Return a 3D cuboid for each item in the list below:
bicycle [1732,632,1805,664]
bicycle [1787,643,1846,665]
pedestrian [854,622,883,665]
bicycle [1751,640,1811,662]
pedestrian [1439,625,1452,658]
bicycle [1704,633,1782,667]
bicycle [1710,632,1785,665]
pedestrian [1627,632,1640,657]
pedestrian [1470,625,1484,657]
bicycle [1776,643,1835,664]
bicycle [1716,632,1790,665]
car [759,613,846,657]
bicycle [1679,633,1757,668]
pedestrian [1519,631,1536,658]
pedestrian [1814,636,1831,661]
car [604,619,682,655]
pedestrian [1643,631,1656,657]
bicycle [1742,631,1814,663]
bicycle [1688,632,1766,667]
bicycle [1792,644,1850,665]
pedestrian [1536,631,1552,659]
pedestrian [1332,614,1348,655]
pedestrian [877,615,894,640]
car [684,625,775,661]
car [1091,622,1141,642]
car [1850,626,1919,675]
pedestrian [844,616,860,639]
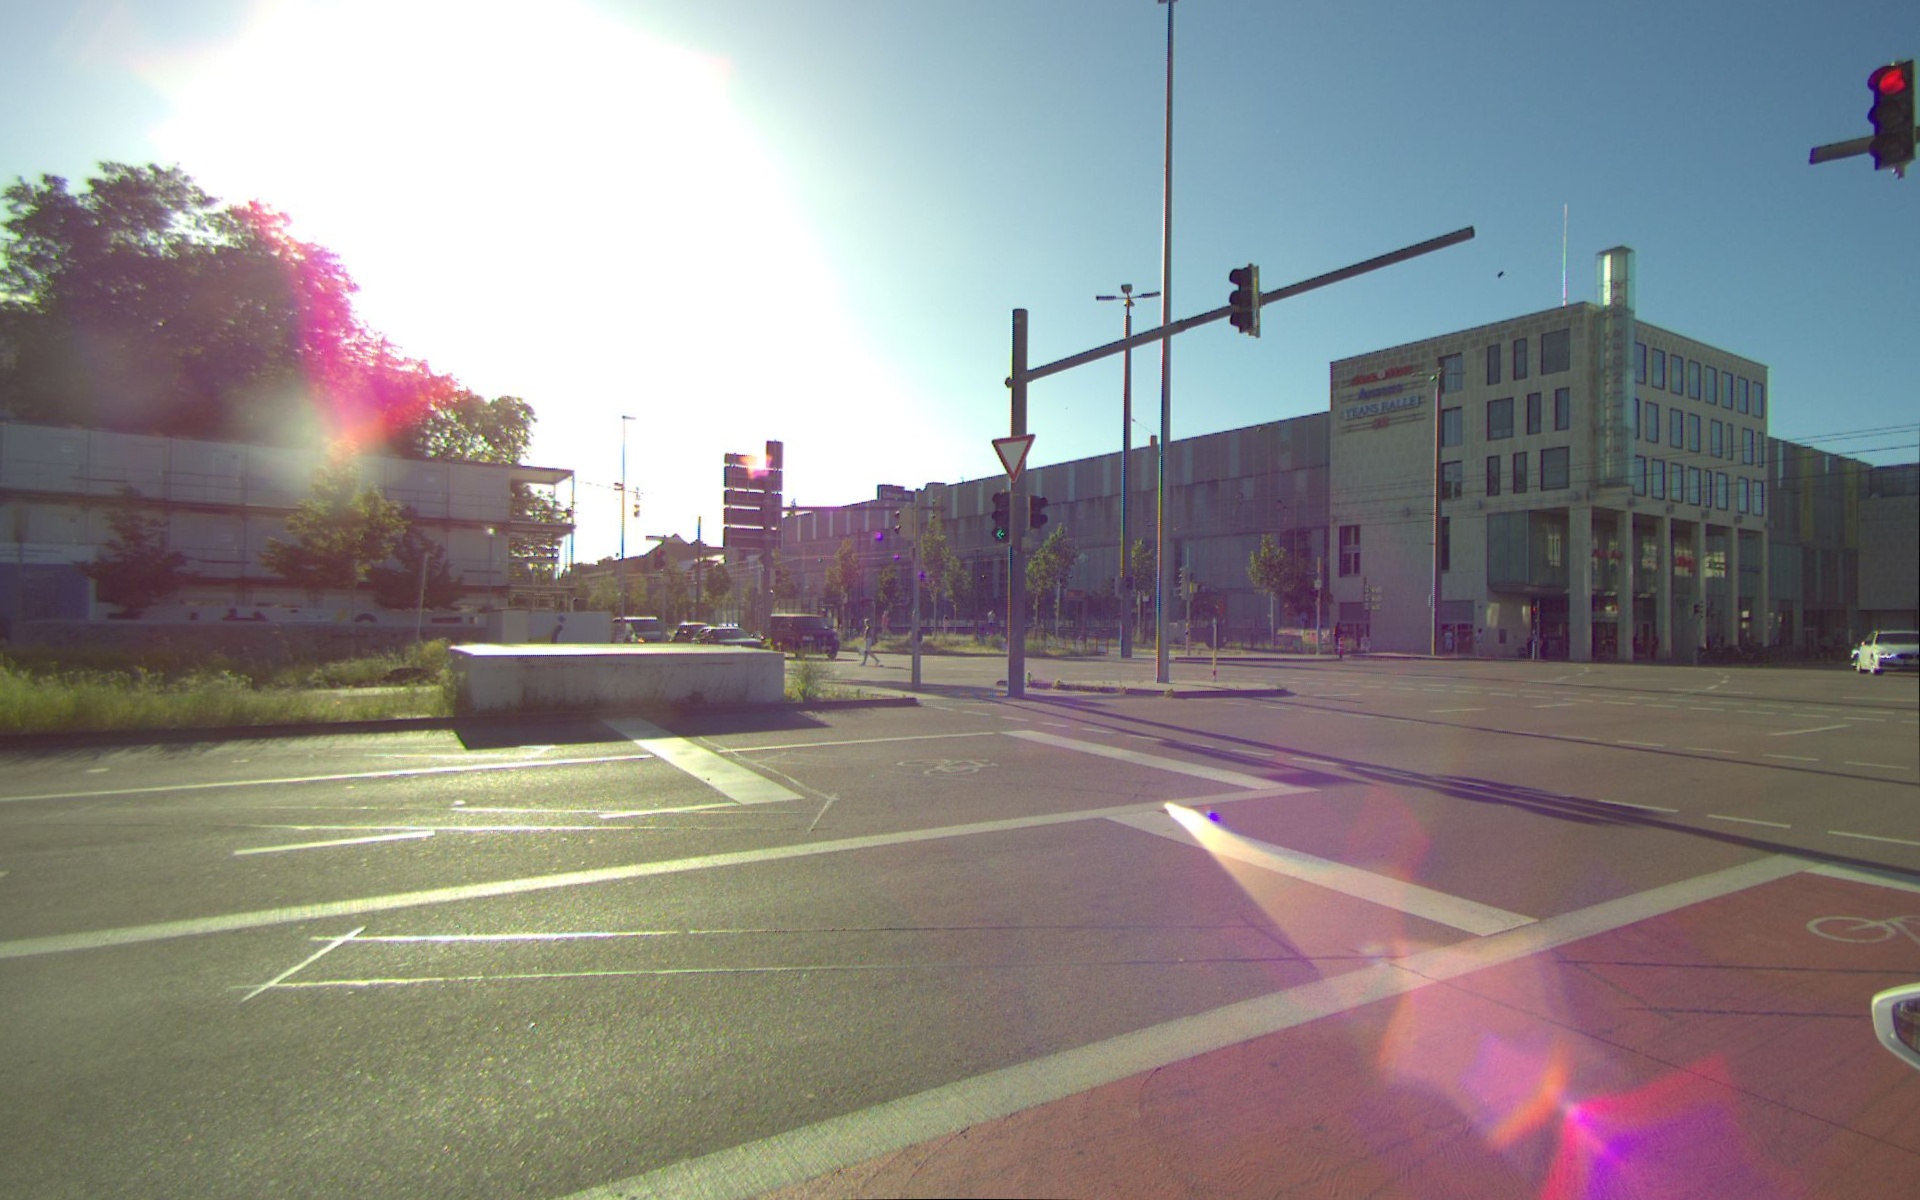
[{"bbox_3d":[52.860,3.131,65.719,0.893,2.040,3.598,1,-2,-34],"label":"bicycle"},{"bbox_3d":[60.331,3.784,70.812,0.893,1.419,3.032,1,-2,-34],"label":"bicycle"},{"bbox_3d":[-3.299,1.554,36.165,0.796,1.522,0.716,1,-1,-40],"label":"pedestrian"},{"bbox_3d":[55.087,3.424,67.428,0.893,1.419,3.032,1,-2,-34],"label":"bicycle"},{"bbox_3d":[31.167,2.657,64.479,0.512,2.040,0.618,1,-1,-39],"label":"pedestrian"},{"bbox_3d":[48.097,3.045,61.745,1.075,2.040,3.598,1,-2,-34],"label":"bicycle"},{"bbox_3d":[50.143,3.078,64.025,1.075,2.040,3.598,1,-2,-34],"label":"bicycle"},{"bbox_3d":[44.183,2.907,65.881,0.613,1.629,0.653,0,-1,24],"label":"pedestrian"},{"bbox_3d":[32.984,2.609,64.074,0.512,2.040,0.618,1,-1,-39],"label":"pedestrian"},{"bbox_3d":[58.739,3.696,69.841,0.893,1.419,3.032,1,-2,-34],"label":"bicycle"},{"bbox_3d":[51.048,3.117,64.726,1.075,2.040,3.598,1,-2,-34],"label":"bicycle"},{"bbox_3d":[-7.213,1.597,45.587,1.856,1.834,4.604,4,-3,-38],"label":"car"},{"bbox_3d":[45.619,2.998,60.508,1.077,2.040,3.593,1,-2,-38],"label":"bicycle"},{"bbox_3d":[33.832,2.639,59.870,0.646,1.629,0.619,1,-1,-32],"label":"pedestrian"},{"bbox_3d":[56.102,3.138,65.331,0.731,1.629,0.623,0,-1,32],"label":"pedestrian"},{"bbox_3d":[-15.515,1.791,49.055,2.119,1.631,4.604,4,-4,-38],"label":"car"},{"bbox_3d":[45.051,2.871,65.616,0.613,1.629,0.653,0,-1,24],"label":"pedestrian"},{"bbox_3d":[54.343,3.085,66.794,0.893,2.040,3.598,1,-2,-34],"label":"bicycle"},{"bbox_3d":[46.724,2.972,61.241,1.075,2.040,3.598,1,-2,-34],"label":"bicycle"},{"bbox_3d":[61.435,3.865,71.692,0.893,1.419,3.032,1,-2,-34],"label":"bicycle"},{"bbox_3d":[34.296,2.648,58.973,0.646,1.629,0.619,1,-1,-32],"label":"pedestrian"},{"bbox_3d":[18.708,1.696,49.486,0.620,2.040,0.509,1,-1,-44],"label":"pedestrian"},{"bbox_3d":[-4.510,1.665,60.856,0.718,1.522,0.794,1,-1,-39],"label":"pedestrian"},{"bbox_3d":[-9.580,1.753,41.513,1.856,1.392,4.604,4,-4,-38],"label":"car"},{"bbox_3d":[12.284,2.502,79.175,1.764,1.584,3.752,1,-2,-35],"label":"car"},{"bbox_3d":[30.355,1.581,32.490,1.968,1.374,4.627,-1,0,37],"label":"car"},{"bbox_3d":[-7.079,1.799,65.954,0.718,1.522,0.794,1,-1,-39],"label":"pedestrian"}]
